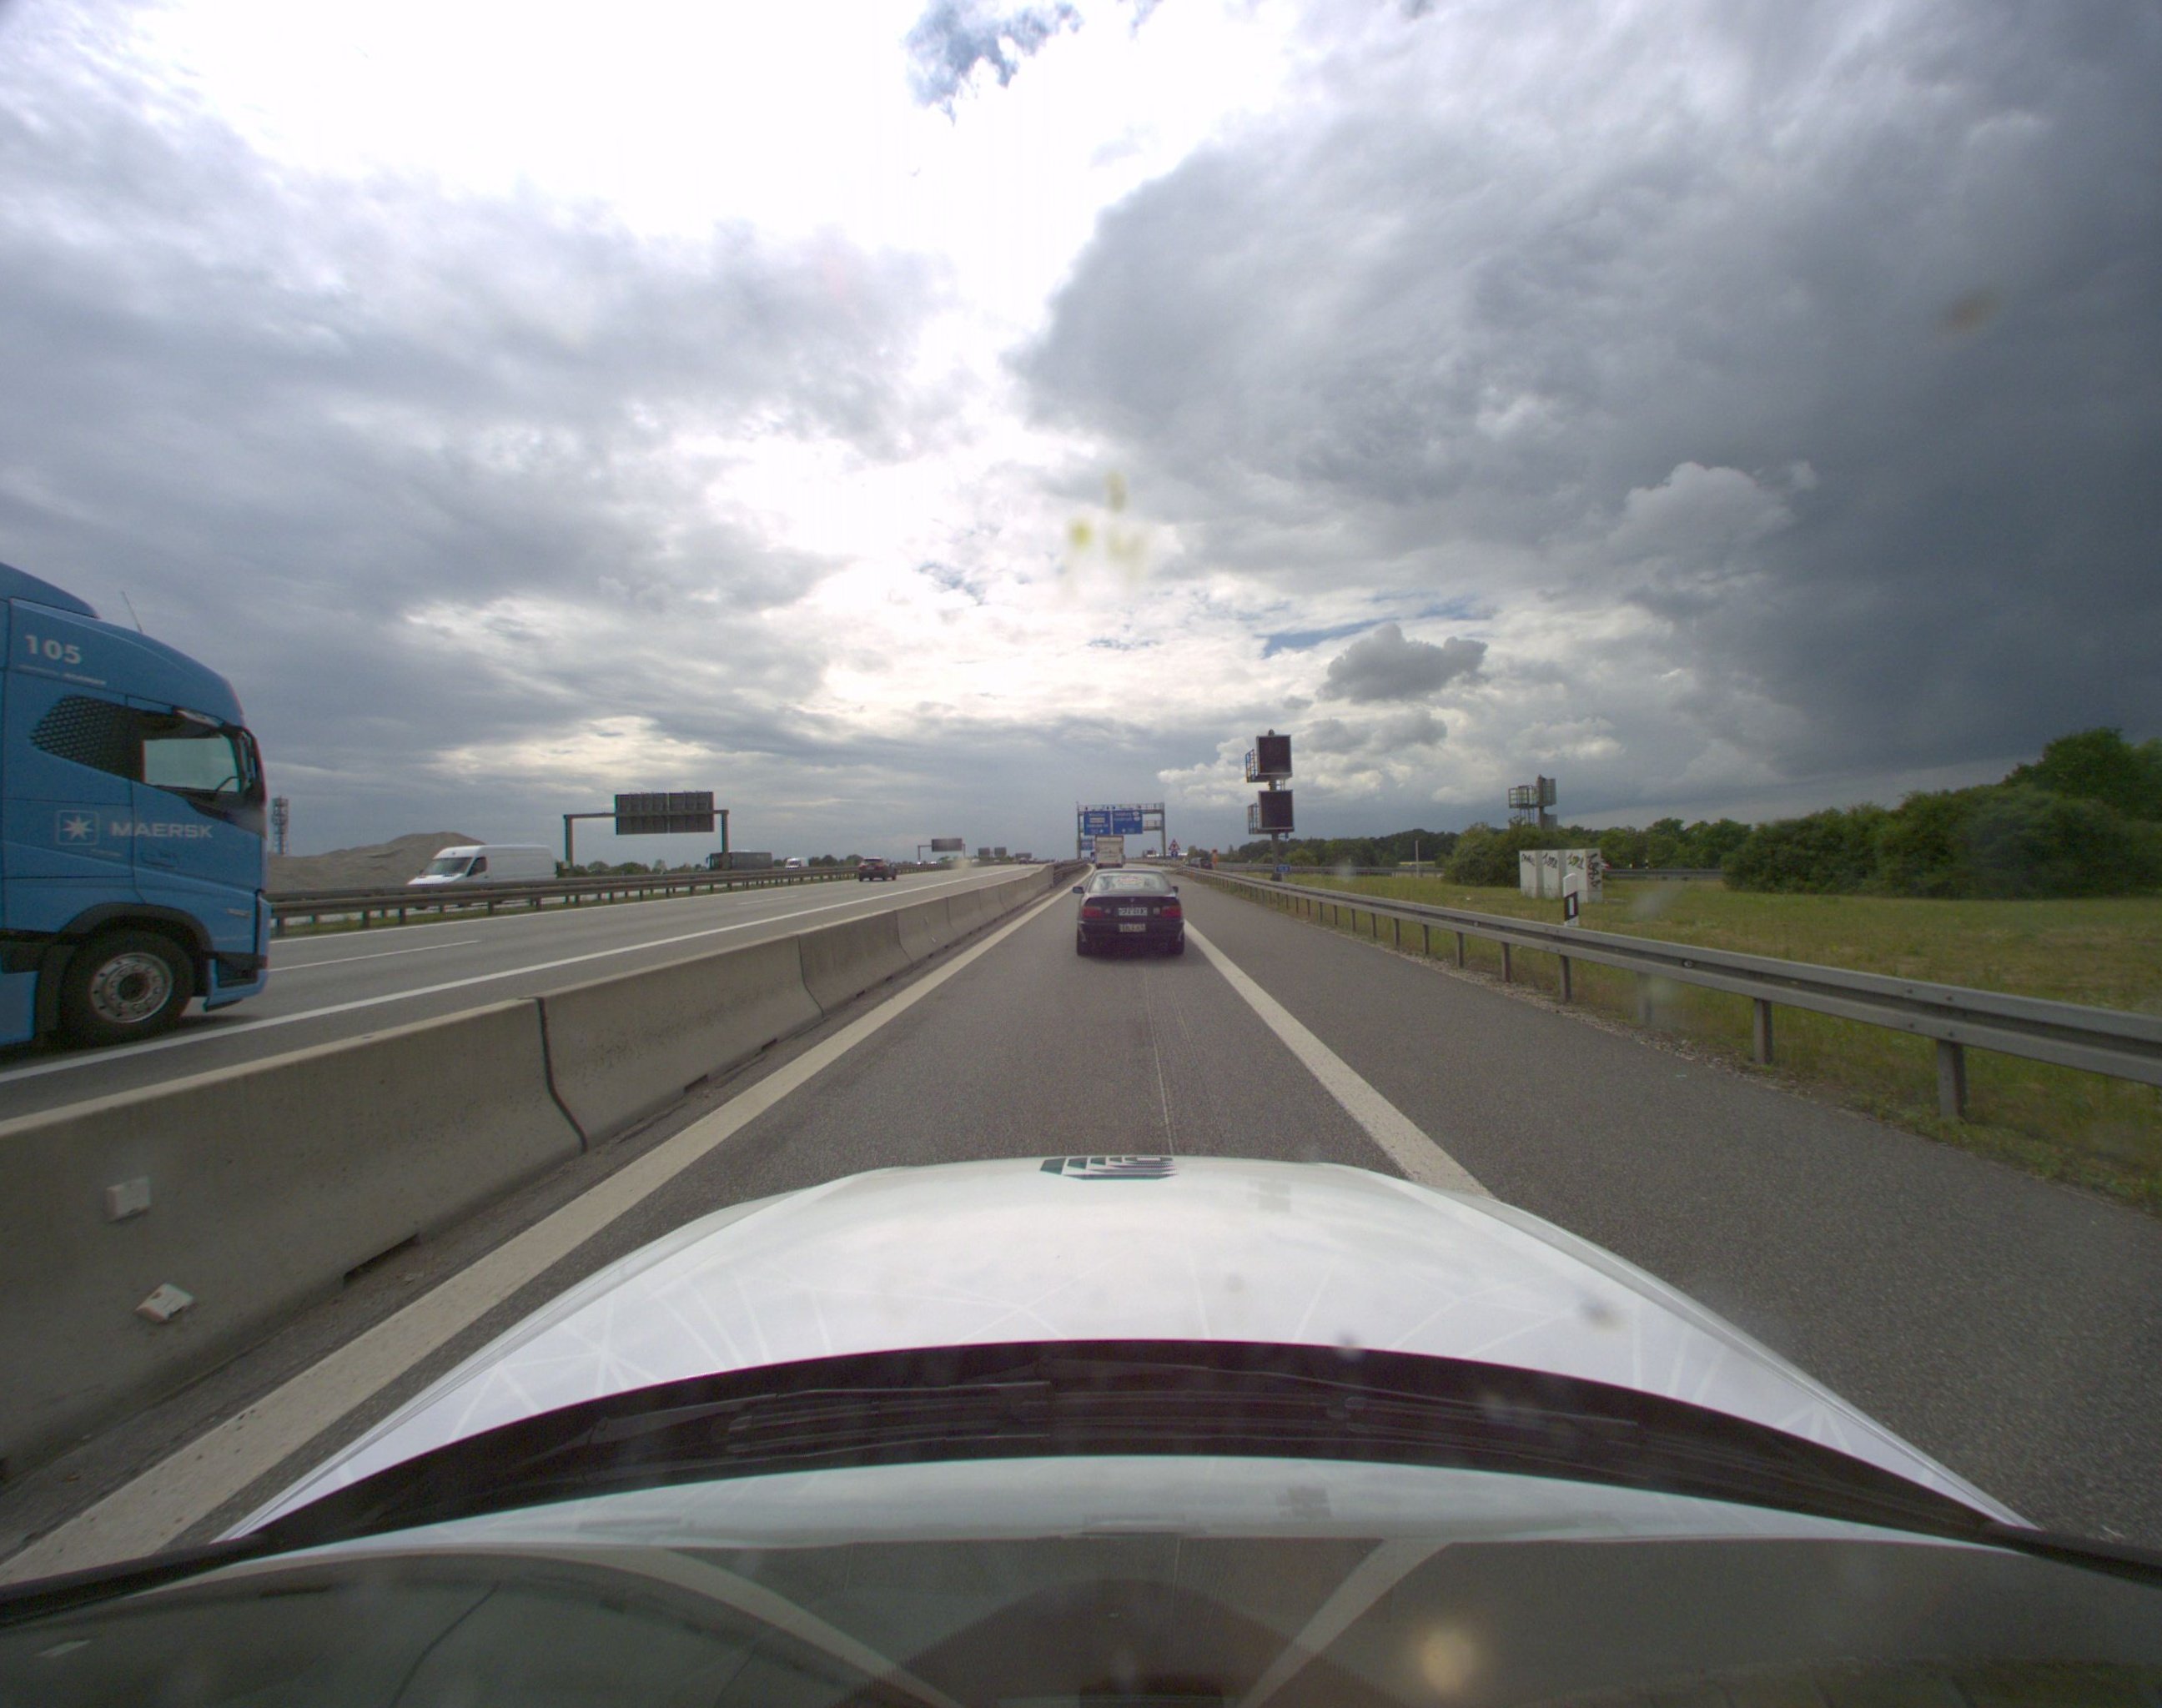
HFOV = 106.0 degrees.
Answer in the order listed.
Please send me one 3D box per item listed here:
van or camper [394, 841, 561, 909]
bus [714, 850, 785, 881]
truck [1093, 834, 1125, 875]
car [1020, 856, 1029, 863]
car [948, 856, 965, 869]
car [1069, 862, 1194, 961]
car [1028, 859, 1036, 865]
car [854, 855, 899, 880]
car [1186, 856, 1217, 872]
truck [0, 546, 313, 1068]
[{"bbox_3d":[-25.823,0.836,35.334,2.180,2.619,6.901,-1,0,-1],"label":"van or camper"},{"bbox_3d":[-39.143,1.335,96.840,3.204,3.442,12.987,0,0,-1],"label":"bus"},{"bbox_3d":[2.176,0.073,64.841,2.395,3.090,6.371,-1,0,1],"label":"truck"},{"bbox_3d":[-13.945,1.386,200.235,1.988,1.662,4.381,-1,0,-1],"label":"car"},{"bbox_3d":[-17.359,1.157,113.833,1.660,1.706,4.002,-1,0,2],"label":"car"},{"bbox_3d":[0.832,0.855,13.770,1.775,1.378,4.140,-1,0,3],"label":"car"},{"bbox_3d":[-14.651,2.393,243.264,1.988,1.541,3.998,-1,0,-1],"label":"car"},{"bbox_3d":[-13.566,0.886,54.250,1.886,1.597,4.416,0,0,-1],"label":"car"},{"bbox_3d":[12.278,1.038,83.364,1.993,1.552,3.986,0,0,-10],"label":"car"},{"bbox_3d":[-9.708,-0.346,5.249,3.236,3.911,6.608,0,0,0],"label":"truck"}]
